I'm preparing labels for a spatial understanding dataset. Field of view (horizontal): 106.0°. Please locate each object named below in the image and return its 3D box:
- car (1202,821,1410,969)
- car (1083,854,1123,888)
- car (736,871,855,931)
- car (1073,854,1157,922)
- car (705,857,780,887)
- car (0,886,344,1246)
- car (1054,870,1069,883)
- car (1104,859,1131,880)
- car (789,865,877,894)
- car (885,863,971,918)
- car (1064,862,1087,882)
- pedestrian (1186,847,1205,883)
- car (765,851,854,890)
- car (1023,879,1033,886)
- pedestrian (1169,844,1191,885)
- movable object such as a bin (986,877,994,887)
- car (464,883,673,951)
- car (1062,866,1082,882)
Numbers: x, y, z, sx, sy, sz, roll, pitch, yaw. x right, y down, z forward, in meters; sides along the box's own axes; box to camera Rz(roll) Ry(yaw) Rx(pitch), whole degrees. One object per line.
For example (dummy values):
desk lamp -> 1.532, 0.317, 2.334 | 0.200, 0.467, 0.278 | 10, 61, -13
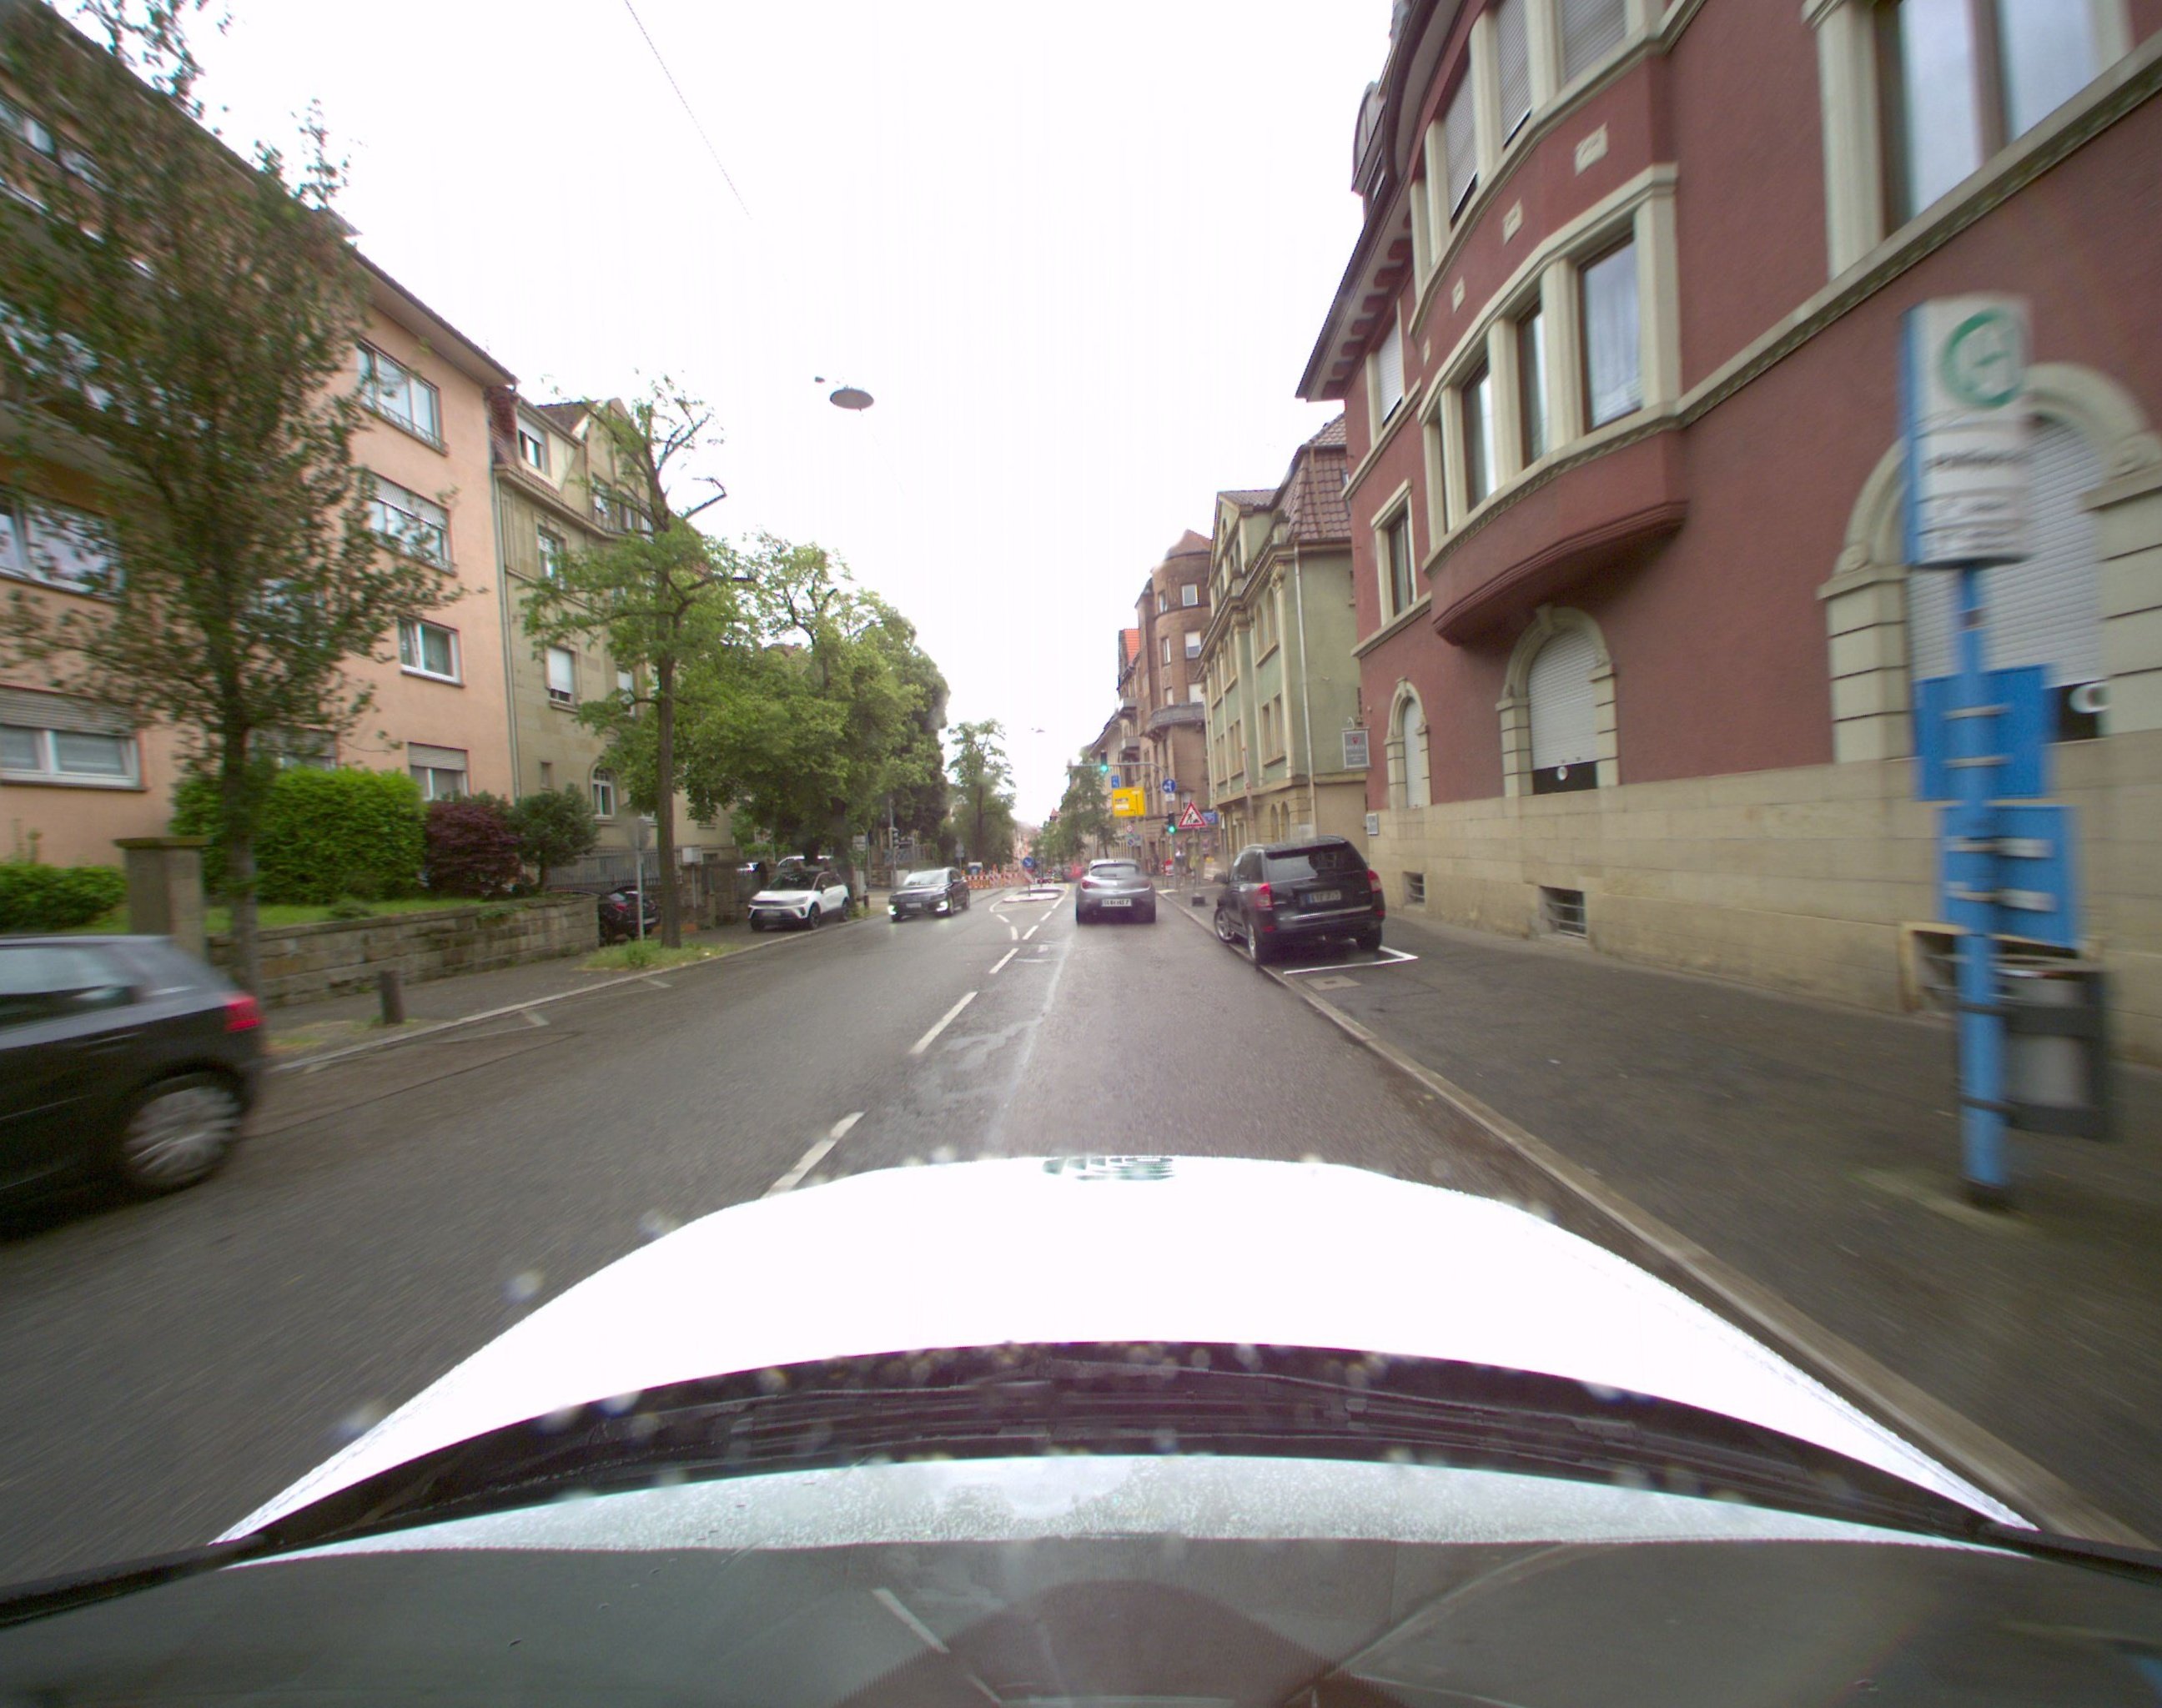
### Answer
car -> 3.109, 0.556, 12.345 | 1.870, 1.630, 4.699 | -6, -2, 2
car -> 1.080, 0.833, 38.985 | 1.765, 1.504, 3.871 | -2, -2, 2
car -> -8.119, 1.286, 23.593 | 1.734, 1.559, 4.304 | -1, -1, 2
car -> 0.841, 0.794, 19.837 | 1.804, 1.450, 3.871 | -2, -2, 3
car -> -21.374, 1.074, 51.405 | 4.387, 1.513, 2.127 | 3, 3, 29
car -> -5.775, 1.062, 2.987 | 1.765, 1.517, 4.593 | -4, 1, 2
car -> -2.512, 2.969, 105.642 | 1.654, 1.543, 3.658 | -5, -2, -5
car -> 2.990, 1.340, 67.502 | 1.654, 1.543, 3.658 | -5, -2, -5
car -> -12.669, 1.323, 41.727 | 3.842, 1.409, 1.829 | 0, -3, 7
car -> -4.671, 1.063, 25.541 | 1.809, 1.517, 4.547 | -2, -1, 0
car -> -0.467, 1.555, 69.759 | 1.653, 1.543, 3.660 | -5, -2, -4
pedestrian -> 5.180, 0.501, 36.954 | 0.592, 1.584, 0.669 | -5, 0, 20
car -> -16.393, 0.962, 49.216 | 4.627, 2.048, 2.034 | 3, 1, 16
car -> -12.199, 6.539, 187.360 | 1.992, 1.501, 3.989 | -3, -2, -7
pedestrian -> 4.530, 0.470, 37.168 | 0.712, 1.774, 0.669 | -5, 0, 21
movable object such as a bin -> -11.843, 3.679, 106.076 | 0.943, 1.214, 0.855 | -1, -2, -4
car -> -12.683, 1.544, 20.359 | 3.974, 1.326, 1.837 | -3, 0, 0
car -> -0.983, 2.123, 85.221 | 1.654, 1.543, 3.658 | -5, -2, -5
